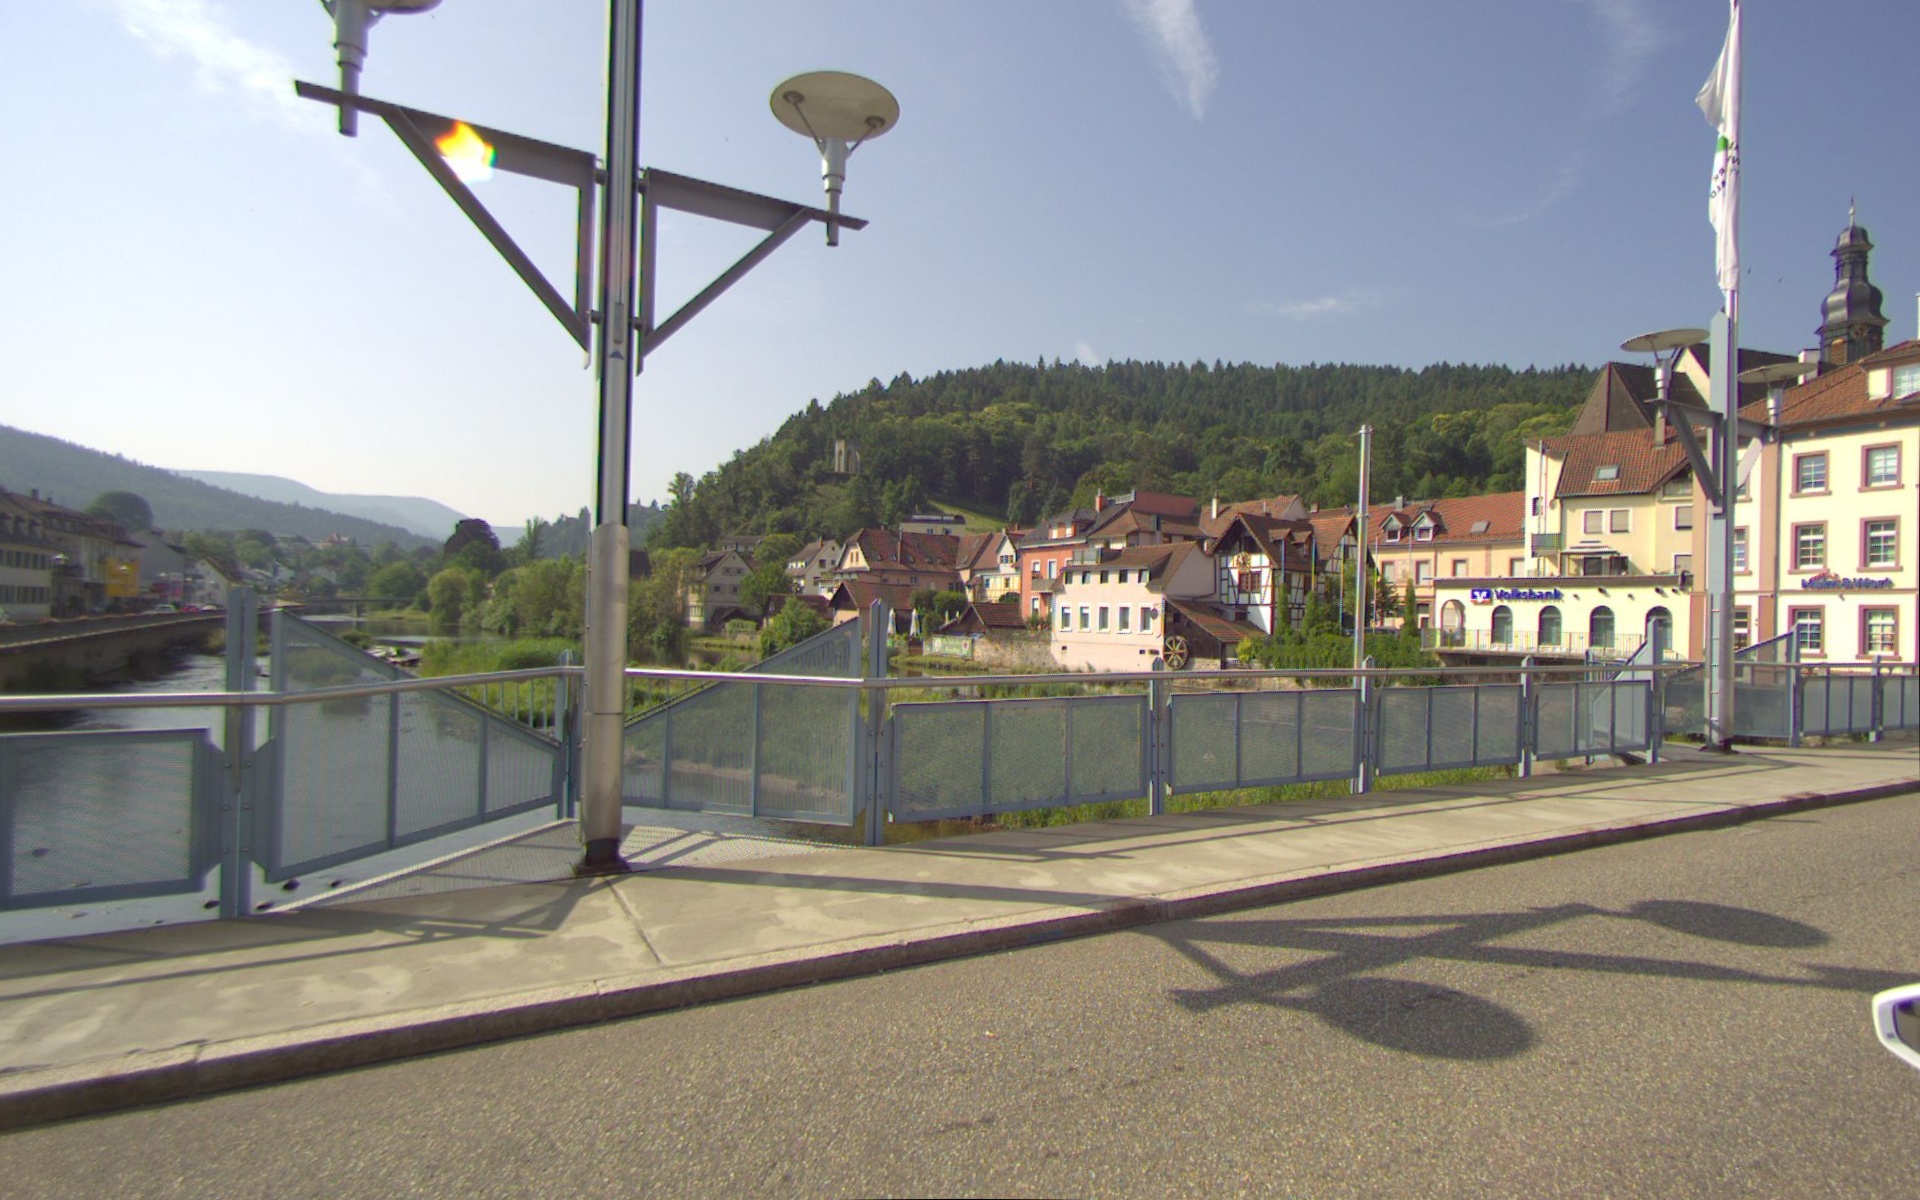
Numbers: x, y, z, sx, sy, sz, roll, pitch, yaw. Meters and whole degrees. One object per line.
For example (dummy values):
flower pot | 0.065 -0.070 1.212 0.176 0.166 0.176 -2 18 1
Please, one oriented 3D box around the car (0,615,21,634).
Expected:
car | -77.723 1.991 81.523 1.501 1.467 3.249 1 -1 -31

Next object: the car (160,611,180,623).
car | -98.930 2.177 125.817 1.501 1.467 3.249 1 -1 -31
